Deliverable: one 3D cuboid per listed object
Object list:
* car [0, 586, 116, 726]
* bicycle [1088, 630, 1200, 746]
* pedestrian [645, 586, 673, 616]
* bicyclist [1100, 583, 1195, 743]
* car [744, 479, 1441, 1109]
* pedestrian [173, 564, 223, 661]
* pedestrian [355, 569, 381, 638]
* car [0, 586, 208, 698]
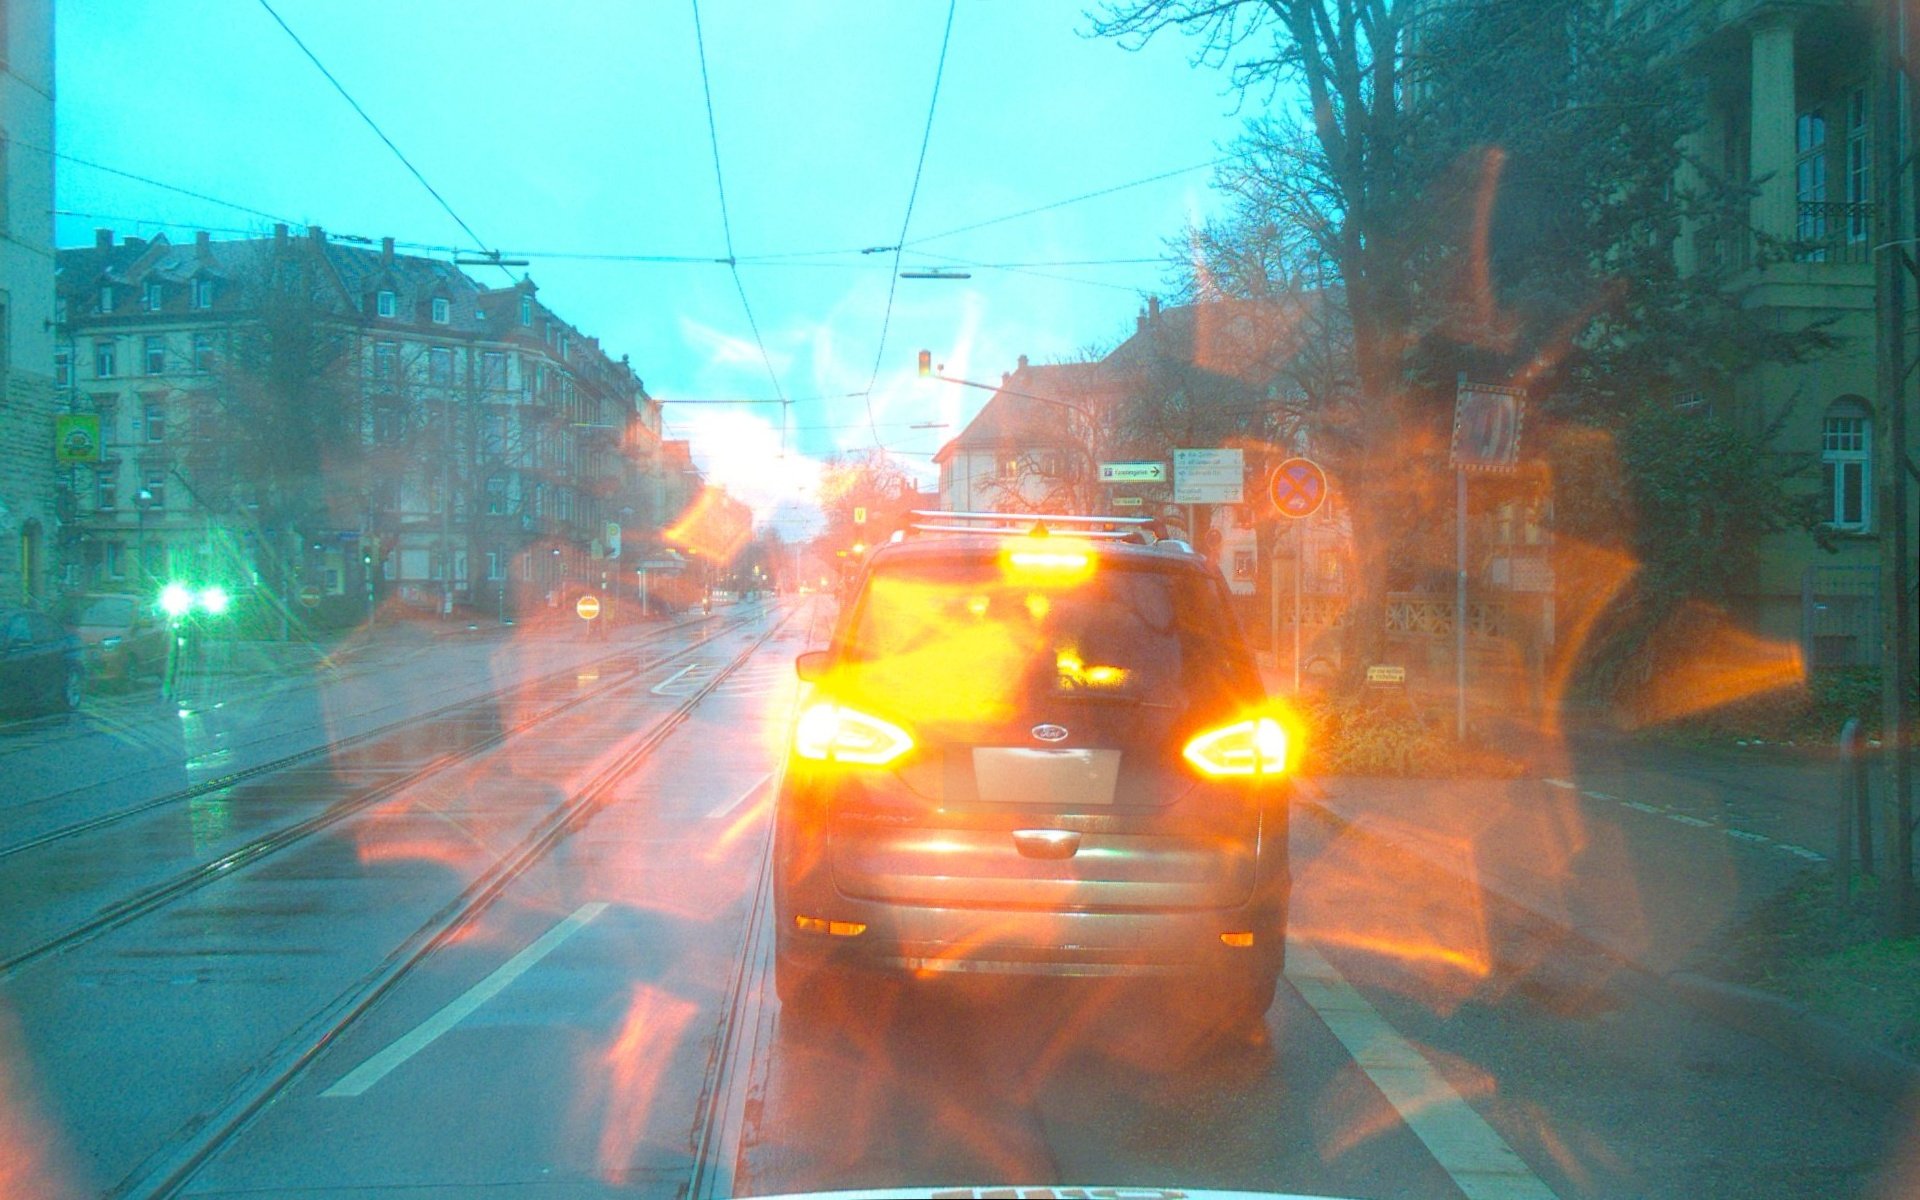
[{"bbox_3d":[-13.131,0.672,21.833,1.949,1.674,4.624,5,-1,-7],"label":"car"},{"bbox_3d":[2.033,0.961,18.561,0.703,1.131,1.938,4,0,-9],"label":"bicycle"},{"bbox_3d":[-12.348,0.054,67.839,1.027,1.221,0.884,1,0,-4],"label":"pedestrian"},{"bbox_3d":[2.076,0.680,18.394,0.703,1.691,1.054,4,0,-9],"label":"bicyclist"},{"bbox_3d":[0.316,0.576,7.312,2.061,1.848,4.658,2,0,-2],"label":"car"},{"bbox_3d":[-16.204,0.262,35.154,0.742,2.049,0.646,0,-1,32],"label":"pedestrian"},{"bbox_3d":[-17.777,0.106,49.665,0.695,2.049,0.656,0,0,-24],"label":"pedestrian"},{"bbox_3d":[-14.294,0.648,27.739,2.000,1.578,4.023,4,0,-10],"label":"car"}]
